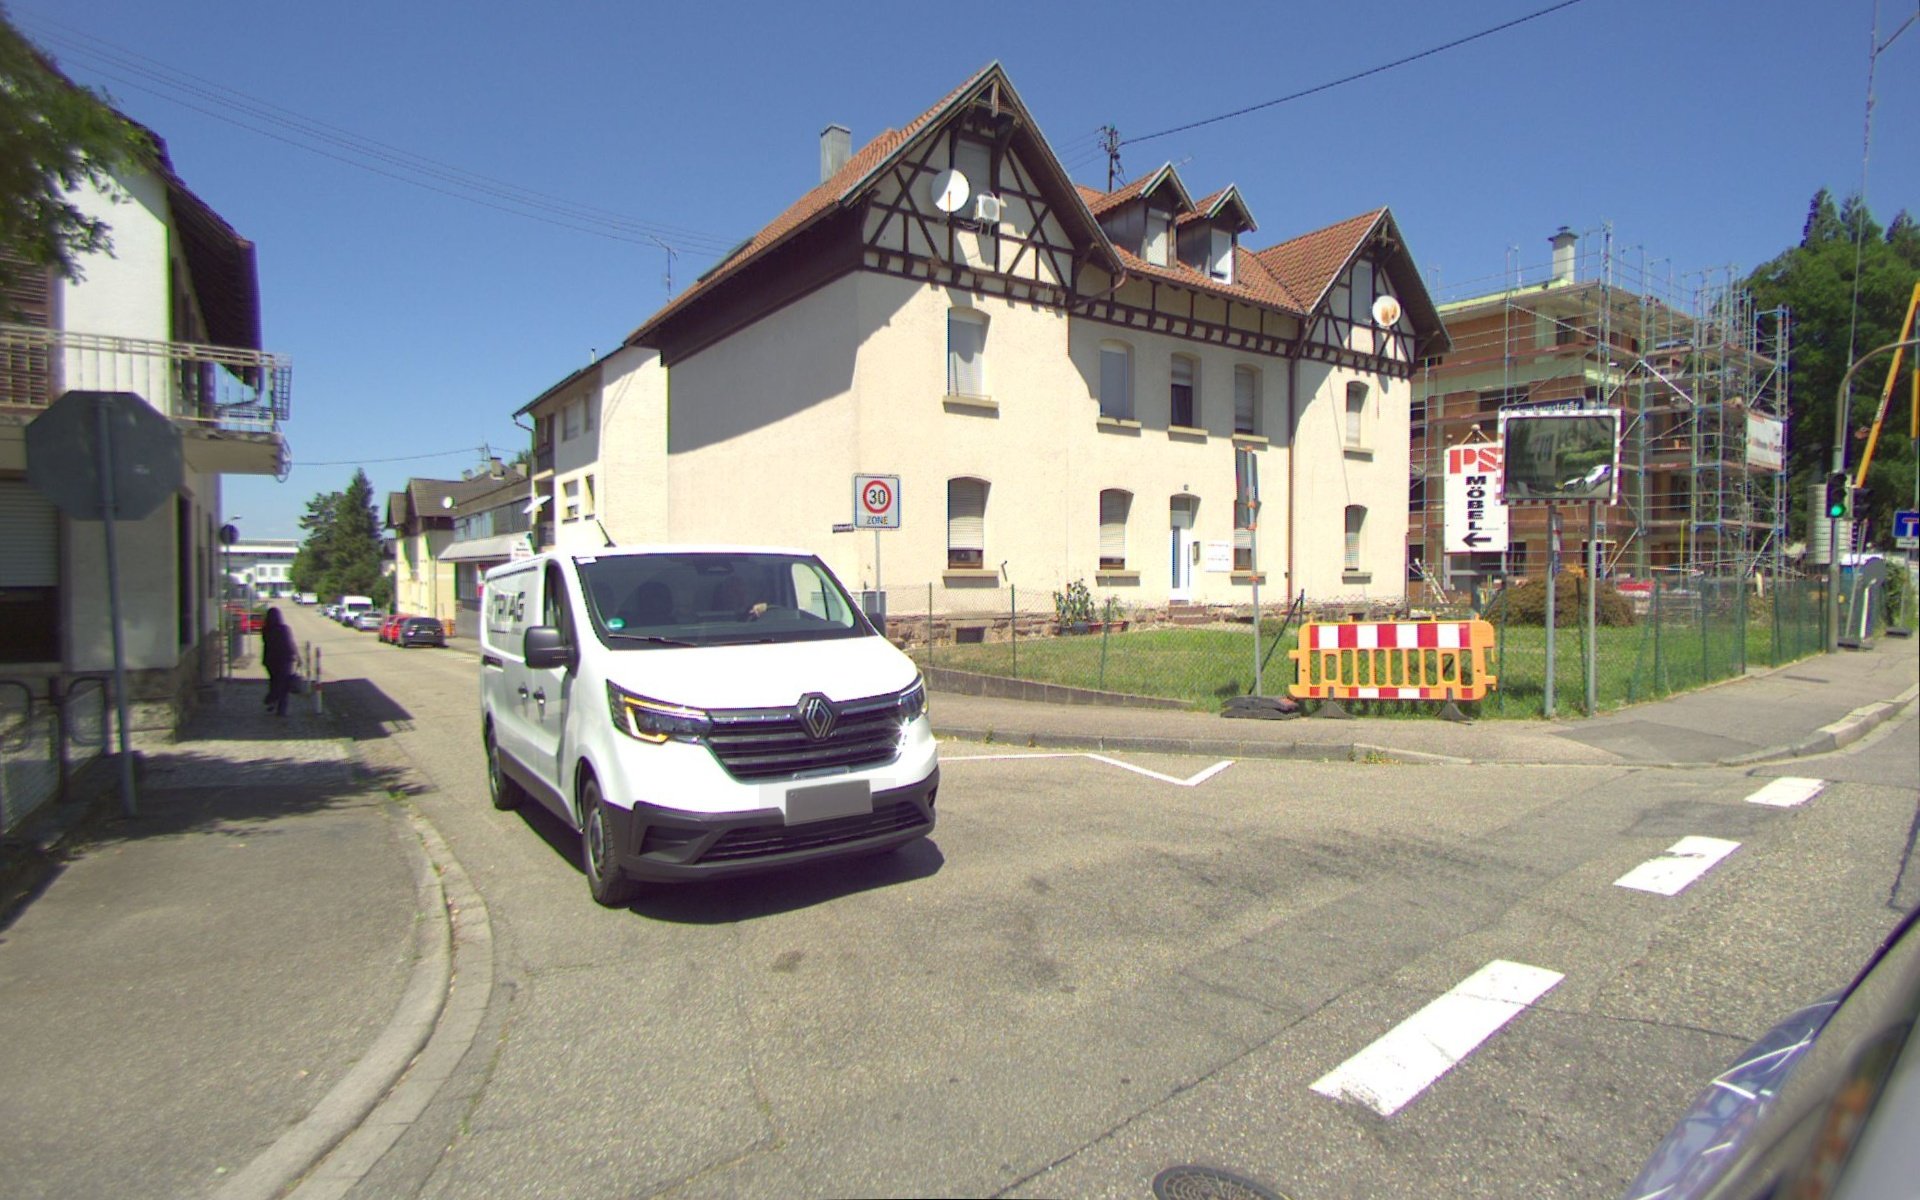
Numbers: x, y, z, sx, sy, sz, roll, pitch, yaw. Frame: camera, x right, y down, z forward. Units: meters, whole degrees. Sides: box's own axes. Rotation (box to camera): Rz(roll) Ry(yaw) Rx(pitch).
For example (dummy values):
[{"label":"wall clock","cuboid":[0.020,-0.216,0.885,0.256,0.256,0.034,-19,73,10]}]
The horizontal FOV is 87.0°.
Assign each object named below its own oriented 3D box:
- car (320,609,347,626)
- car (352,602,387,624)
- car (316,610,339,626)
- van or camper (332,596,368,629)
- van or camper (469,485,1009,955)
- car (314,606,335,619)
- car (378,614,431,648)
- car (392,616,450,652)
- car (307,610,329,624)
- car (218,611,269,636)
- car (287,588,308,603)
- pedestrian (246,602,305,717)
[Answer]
[{"label":"car","cuboid":[-58.960,1.650,95.159,1.795,1.565,3.398,0,-1,-38]},{"label":"car","cuboid":[-43.073,0.956,73.762,1.795,1.565,3.398,0,-1,-38]},{"label":"car","cuboid":[-67.709,1.921,108.355,1.795,1.565,3.398,0,-1,-38]},{"label":"van or camper","cuboid":[-50.508,1.052,83.734,2.184,2.632,5.030,0,-1,-36]},{"label":"van or camper","cuboid":[-2.023,0.505,7.116,1.961,2.003,5.364,-3,1,-32]},{"label":"car","cuboid":[-76.973,1.540,122.536,1.795,1.565,3.398,0,-1,-38]},{"label":"car","cuboid":[-27.550,1.502,50.175,1.795,1.565,3.398,0,-1,-38]},{"label":"car","cuboid":[-24.974,1.527,46.837,1.795,1.565,3.398,0,-1,-38]},{"label":"car","cuboid":[-73.881,1.948,116.428,1.795,1.565,3.398,0,-1,-38]},{"label":"car","cuboid":[-49.529,1.635,69.967,3.876,1.677,1.783,-1,0,37]},{"label":"car","cuboid":[-112.631,-0.737,171.986,2.609,2.376,5.151,0,-1,-38]},{"label":"pedestrian","cuboid":[-10.153,0.866,15.013,0.563,1.620,0.696,4,-1,-43]}]
